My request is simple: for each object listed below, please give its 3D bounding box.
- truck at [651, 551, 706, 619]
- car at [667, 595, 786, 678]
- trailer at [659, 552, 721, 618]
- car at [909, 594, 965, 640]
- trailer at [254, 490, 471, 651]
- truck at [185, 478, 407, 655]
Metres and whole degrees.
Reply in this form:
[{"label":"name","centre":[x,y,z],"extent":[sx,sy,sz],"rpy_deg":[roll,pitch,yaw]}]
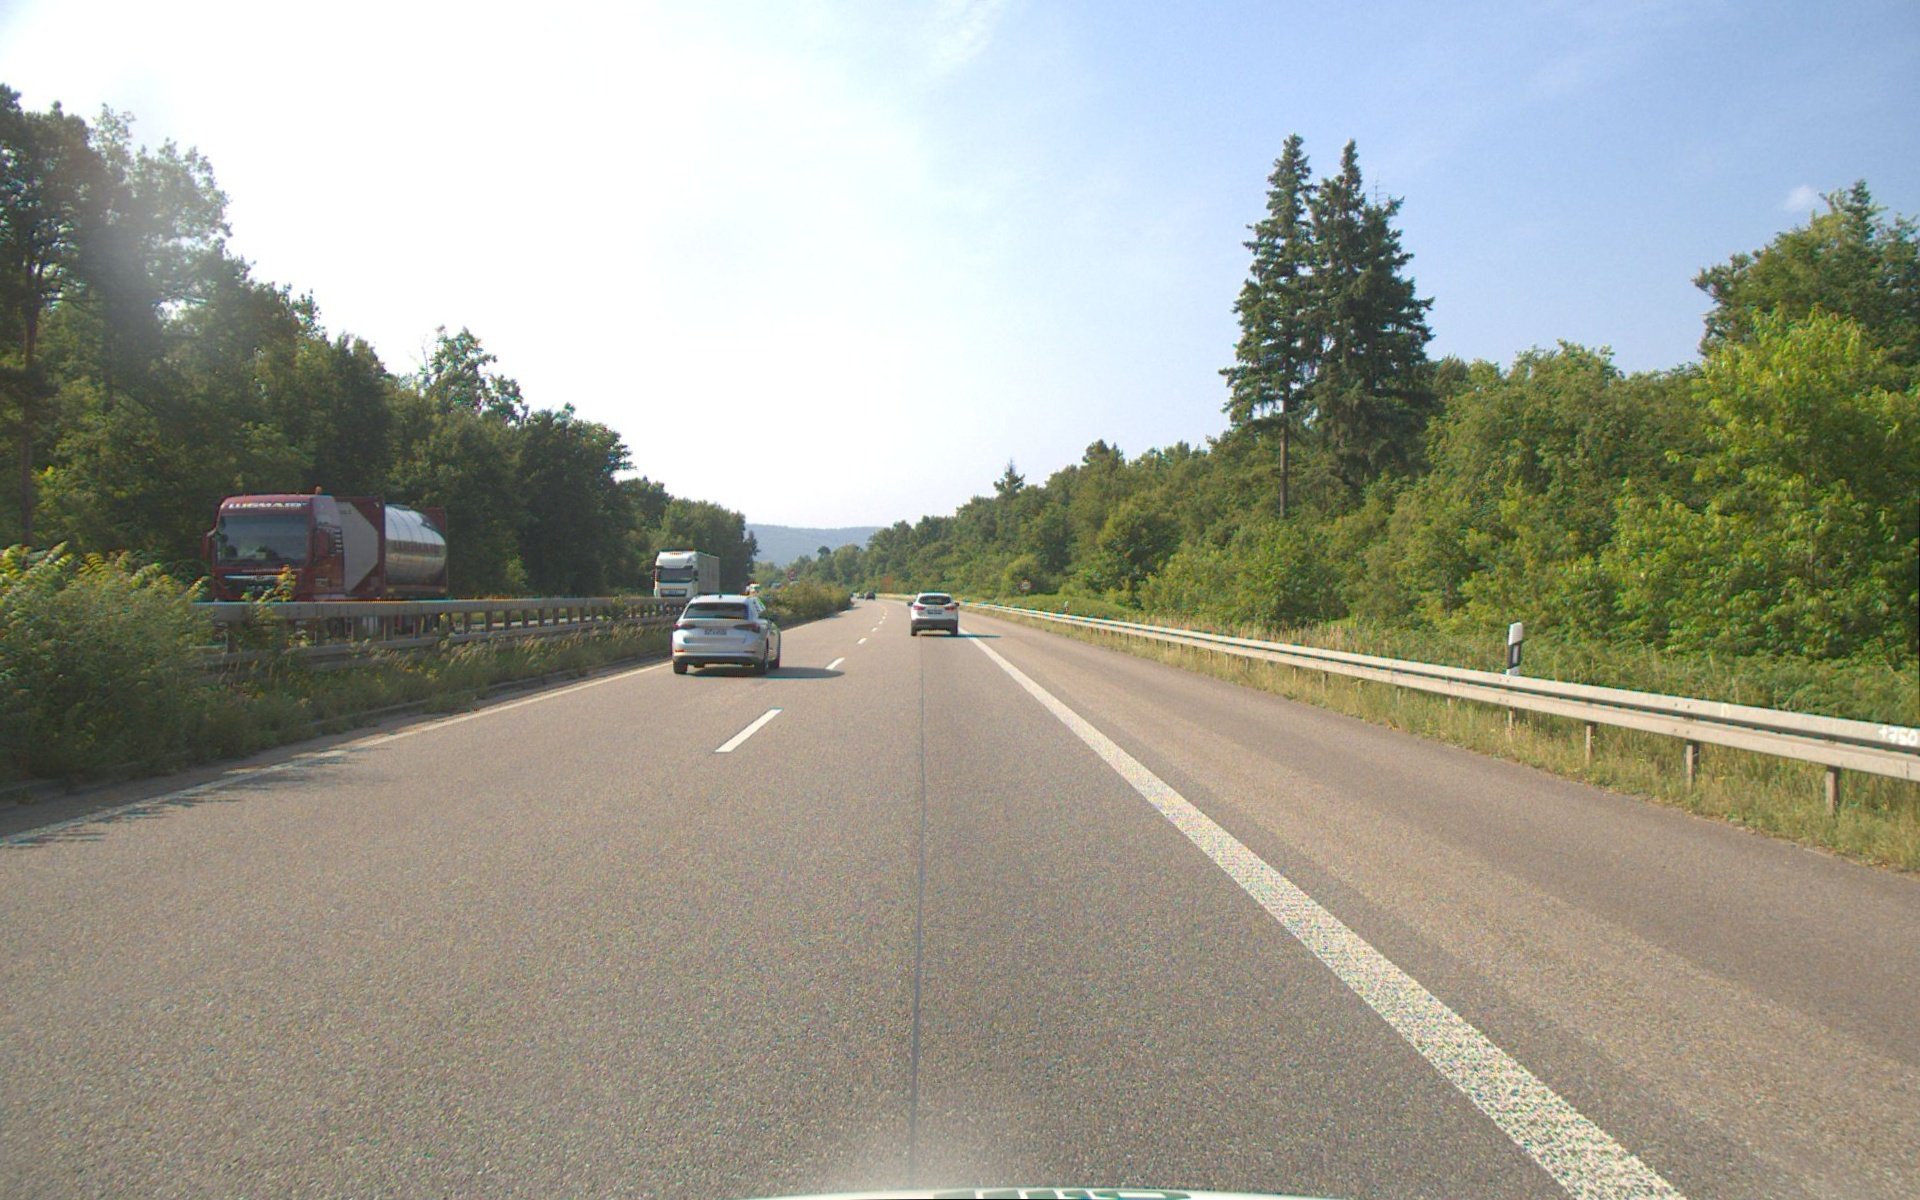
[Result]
[{"label":"truck","centre":[-18.307,-0.973,107.817],"extent":[2.781,4.269,5.544],"rpy_deg":[0,0,-3]},{"label":"car","centre":[-4.469,0.650,32.330],"extent":[1.756,1.463,5.276],"rpy_deg":[0,0,-2]},{"label":"trailer","centre":[-18.603,-0.989,114.804],"extent":[2.776,4.282,12.405],"rpy_deg":[0,0,-2]},{"label":"car","centre":[-0.908,0.622,62.688],"extent":[1.836,1.614,3.997],"rpy_deg":[2,0,-4]},{"label":"trailer","centre":[-16.721,-0.736,47.069],"extent":[3.228,4.110,8.371],"rpy_deg":[1,0,-1]},{"label":"truck","centre":[-16.568,-0.762,41.814],"extent":[3.201,4.110,6.230],"rpy_deg":[1,0,-2]}]
